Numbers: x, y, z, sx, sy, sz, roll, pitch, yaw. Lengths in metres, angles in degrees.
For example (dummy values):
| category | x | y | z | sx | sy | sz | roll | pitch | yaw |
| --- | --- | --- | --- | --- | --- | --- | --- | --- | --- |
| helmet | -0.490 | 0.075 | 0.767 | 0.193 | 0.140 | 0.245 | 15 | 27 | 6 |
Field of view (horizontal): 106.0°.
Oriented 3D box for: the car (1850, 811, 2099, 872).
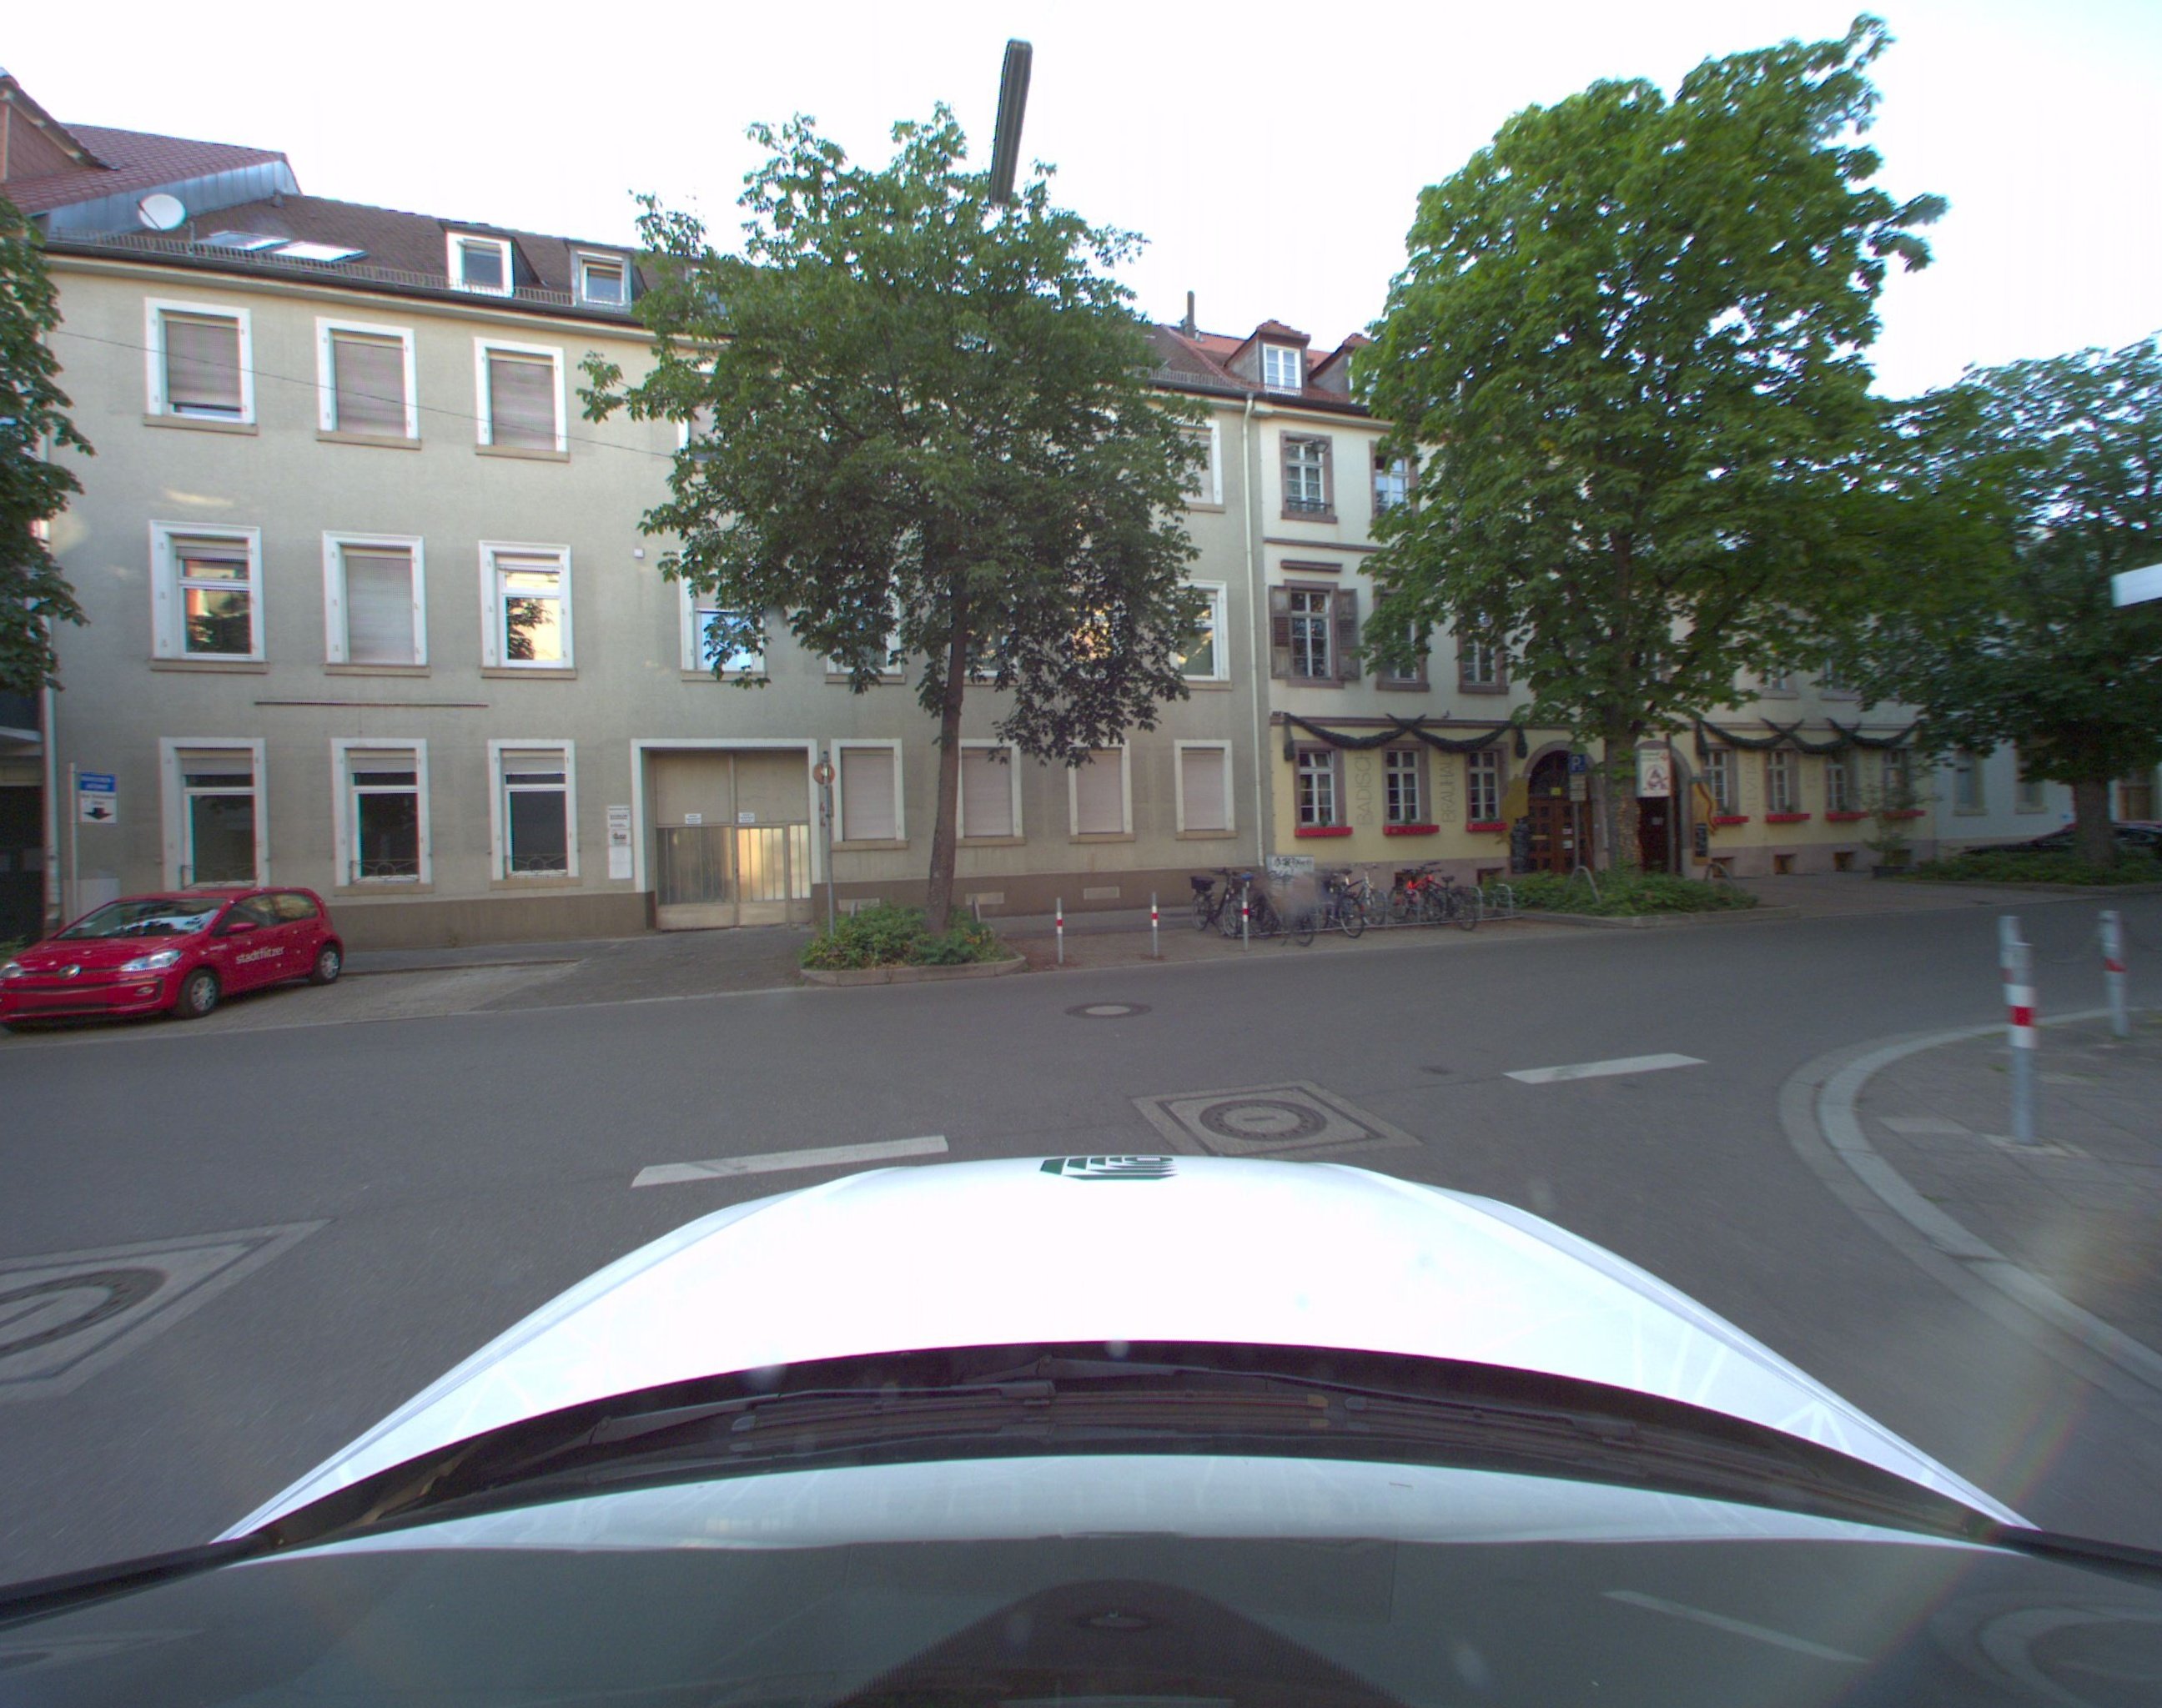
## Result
| category | x | y | z | sx | sy | sz | roll | pitch | yaw |
| --- | --- | --- | --- | --- | --- | --- | --- | --- | --- |
| car | 24.942 | -0.327 | 23.004 | 1.773 | 1.505 | 4.426 | -2 | 0 | -13 |

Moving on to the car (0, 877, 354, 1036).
| category | x | y | z | sx | sy | sz | roll | pitch | yaw |
| --- | --- | --- | --- | --- | --- | --- | --- | --- | --- |
| car | -11.283 | 1.125 | 10.328 | 1.564 | 1.475 | 3.648 | -2 | 1 | -16 |

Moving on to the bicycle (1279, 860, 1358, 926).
| category | x | y | z | sx | sy | sz | roll | pitch | yaw |
| --- | --- | --- | --- | --- | --- | --- | --- | --- | --- |
| bicycle | 4.463 | 0.693 | 15.446 | 0.421 | 1.145 | 2.032 | -2 | 0 | -14 |

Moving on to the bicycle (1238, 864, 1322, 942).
| category | x | y | z | sx | sy | sz | roll | pitch | yaw |
| --- | --- | --- | --- | --- | --- | --- | --- | --- | --- |
| bicycle | 3.209 | 0.759 | 13.348 | 0.445 | 1.145 | 2.033 | -2 | 0 | -13 |

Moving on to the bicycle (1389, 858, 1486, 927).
| category | x | y | z | sx | sy | sz | roll | pitch | yaw |
| --- | --- | --- | --- | --- | --- | --- | --- | --- | --- |
| bicycle | 6.450 | 0.662 | 14.842 | 0.421 | 1.145 | 2.032 | -2 | 0 | -14 |

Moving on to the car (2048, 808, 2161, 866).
| category | x | y | z | sx | sy | sz | roll | pitch | yaw |
| --- | --- | --- | --- | --- | --- | --- | --- | --- | --- |
| car | 30.539 | -0.497 | 22.608 | 1.773 | 1.613 | 4.426 | -2 | 0 | -13 |

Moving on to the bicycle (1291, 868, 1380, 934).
| category | x | y | z | sx | sy | sz | roll | pitch | yaw |
| --- | --- | --- | --- | --- | --- | --- | --- | --- | --- |
| bicycle | 4.331 | 0.762 | 14.014 | 0.421 | 1.004 | 2.032 | -2 | 0 | -14 |

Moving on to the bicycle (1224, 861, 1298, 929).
| category | x | y | z | sx | sy | sz | roll | pitch | yaw |
| --- | --- | --- | --- | --- | --- | --- | --- | --- | --- |
| bicycle | 3.285 | 0.718 | 15.072 | 0.421 | 1.145 | 2.032 | -2 | 0 | -14 |

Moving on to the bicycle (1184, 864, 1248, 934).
| category | x | y | z | sx | sy | sz | roll | pitch | yaw |
| --- | --- | --- | --- | --- | --- | --- | --- | --- | --- |
| bicycle | 2.411 | 0.766 | 14.776 | 0.445 | 1.145 | 2.035 | -2 | 0 | -10 |

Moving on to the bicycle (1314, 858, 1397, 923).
| category | x | y | z | sx | sy | sz | roll | pitch | yaw |
| --- | --- | --- | --- | --- | --- | --- | --- | --- | --- |
| bicycle | 5.191 | 0.661 | 15.544 | 0.421 | 1.145 | 2.032 | -2 | 0 | -14 |
